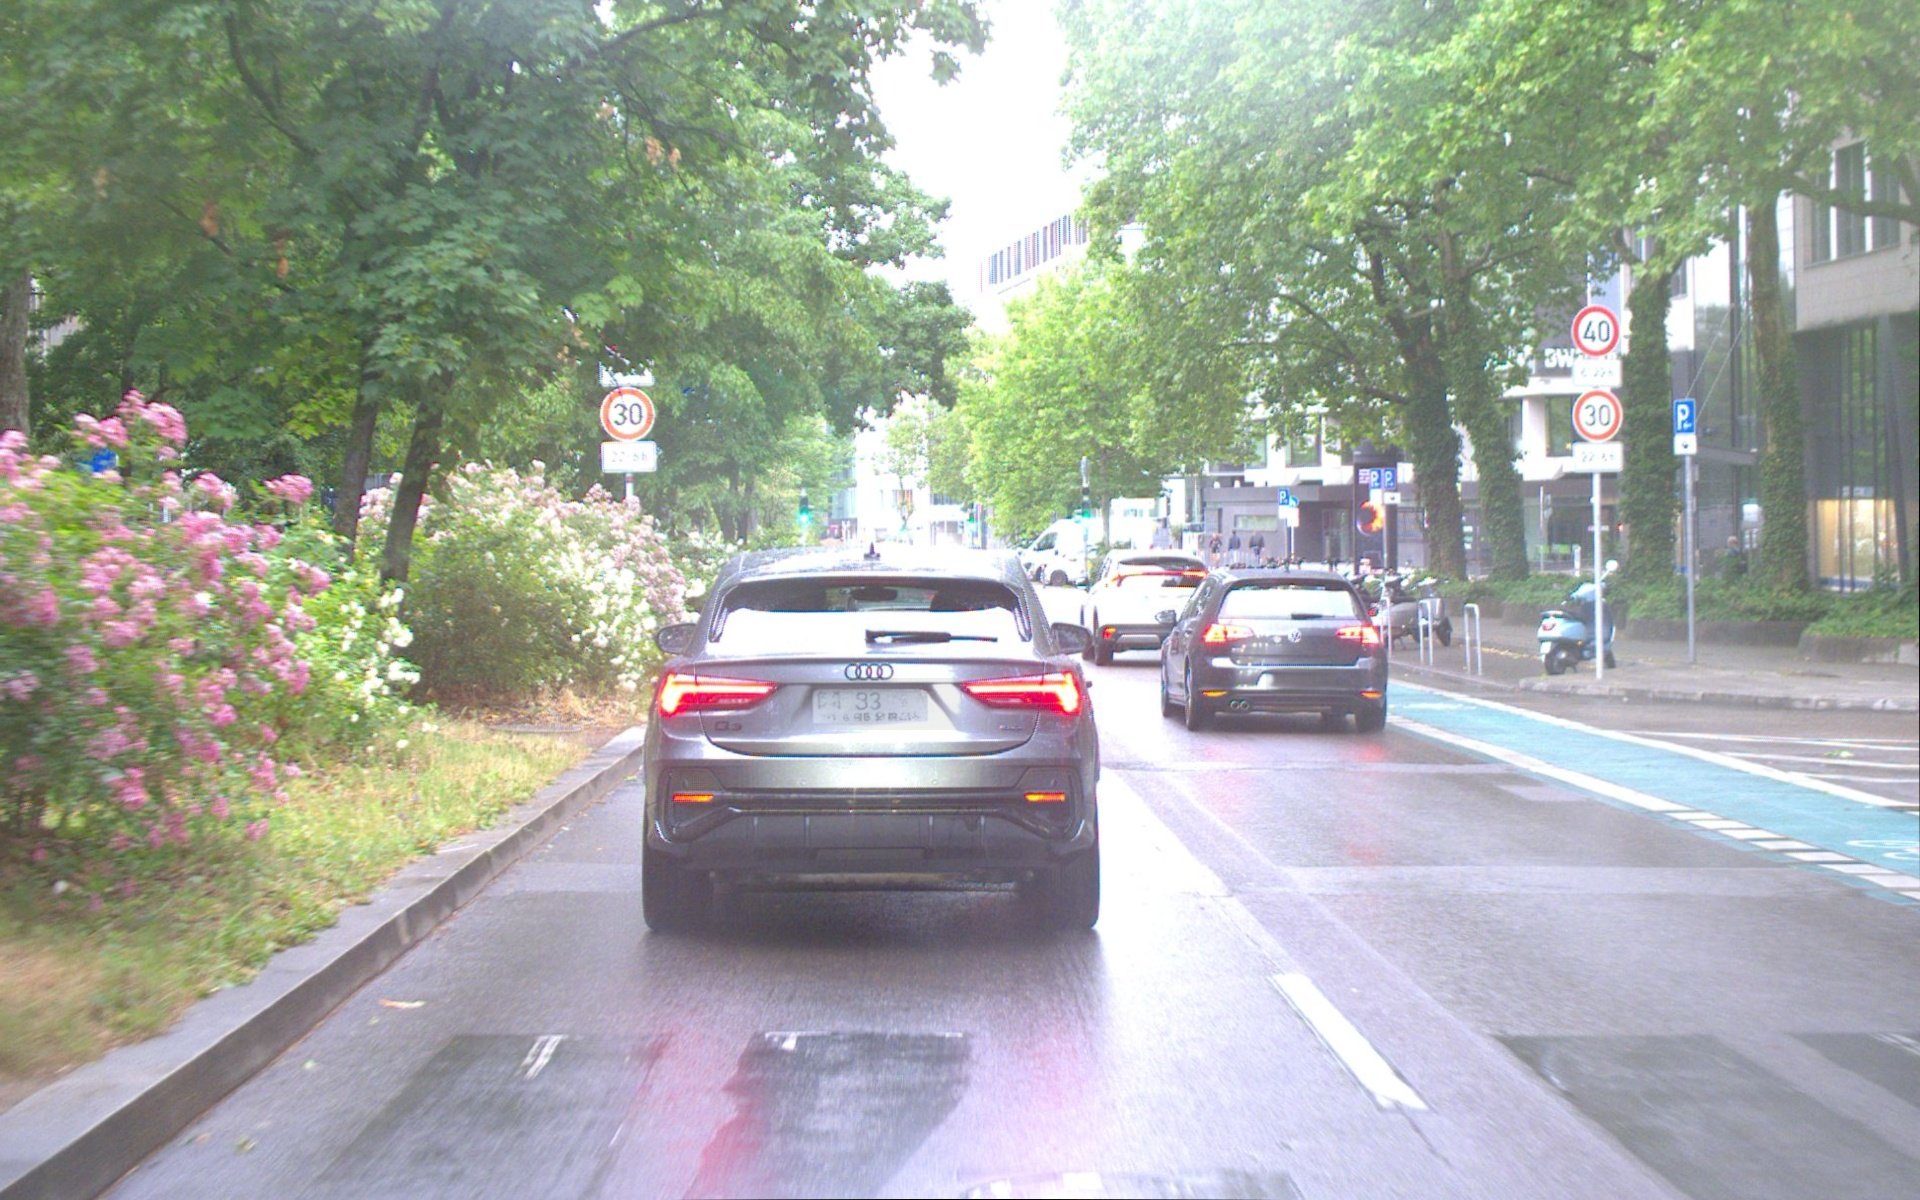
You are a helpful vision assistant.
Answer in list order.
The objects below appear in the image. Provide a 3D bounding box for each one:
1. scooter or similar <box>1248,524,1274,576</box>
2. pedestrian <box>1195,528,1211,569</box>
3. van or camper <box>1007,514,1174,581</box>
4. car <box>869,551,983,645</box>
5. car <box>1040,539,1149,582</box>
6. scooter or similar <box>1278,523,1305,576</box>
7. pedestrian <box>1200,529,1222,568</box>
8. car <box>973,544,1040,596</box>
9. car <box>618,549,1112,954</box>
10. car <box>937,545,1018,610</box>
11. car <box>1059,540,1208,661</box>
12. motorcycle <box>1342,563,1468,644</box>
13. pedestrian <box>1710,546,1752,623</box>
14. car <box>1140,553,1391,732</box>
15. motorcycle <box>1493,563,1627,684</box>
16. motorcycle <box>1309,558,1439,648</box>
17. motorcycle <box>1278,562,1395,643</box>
[{"bbox_3d":[7.514,-1.252,85.864,0.487,1.255,1.294,-1,2,-1],"label":"scooter or similar"},{"bbox_3d":[10.648,-2.254,150.581,0.553,1.799,0.762,1,0,-4],"label":"pedestrian"},{"bbox_3d":[5.009,-2.018,132.313,6.074,2.549,2.102,0,1,26],"label":"van or camper"},{"bbox_3d":[-0.601,-0.066,58.091,1.849,1.518,4.039,0,1,-1],"label":"car"},{"bbox_3d":[4.957,-1.465,126.422,3.652,1.542,1.713,1,1,18],"label":"car"},{"bbox_3d":[8.121,-1.241,84.166,0.487,1.255,1.294,-1,2,-1],"label":"scooter or similar"},{"bbox_3d":[11.055,-2.285,151.586,0.805,1.690,1.187,1,1,-2],"label":"pedestrian"},{"bbox_3d":[1.370,-0.912,102.895,1.849,1.518,4.039,0,1,-1],"label":"car"},{"bbox_3d":[-0.424,0.546,14.966,1.849,1.518,4.039,0,1,-2],"label":"car"},{"bbox_3d":[0.406,-0.556,83.456,1.849,1.518,4.039,0,1,-1],"label":"car"},{"bbox_3d":[2.466,-0.019,49.622,1.849,1.663,4.039,0,1,-1],"label":"car"},{"bbox_3d":[7.180,0.046,55.418,2.054,1.208,0.685,-3,1,-36],"label":"motorcycle"},{"bbox_3d":[18.137,-0.357,80.876,0.825,1.797,0.729,0,1,2],"label":"pedestrian"},{"bbox_3d":[2.723,0.337,31.499,1.849,1.518,4.039,0,1,-1],"label":"car"},{"bbox_3d":[7.348,0.278,42.038,0.684,1.362,1.941,-3,0,39],"label":"motorcycle"},{"bbox_3d":[6.958,0.040,57.784,2.053,1.423,0.729,-2,2,-22],"label":"motorcycle"},{"bbox_3d":[6.815,0.033,62.216,1.955,1.369,0.729,-2,2,-22],"label":"motorcycle"}]
